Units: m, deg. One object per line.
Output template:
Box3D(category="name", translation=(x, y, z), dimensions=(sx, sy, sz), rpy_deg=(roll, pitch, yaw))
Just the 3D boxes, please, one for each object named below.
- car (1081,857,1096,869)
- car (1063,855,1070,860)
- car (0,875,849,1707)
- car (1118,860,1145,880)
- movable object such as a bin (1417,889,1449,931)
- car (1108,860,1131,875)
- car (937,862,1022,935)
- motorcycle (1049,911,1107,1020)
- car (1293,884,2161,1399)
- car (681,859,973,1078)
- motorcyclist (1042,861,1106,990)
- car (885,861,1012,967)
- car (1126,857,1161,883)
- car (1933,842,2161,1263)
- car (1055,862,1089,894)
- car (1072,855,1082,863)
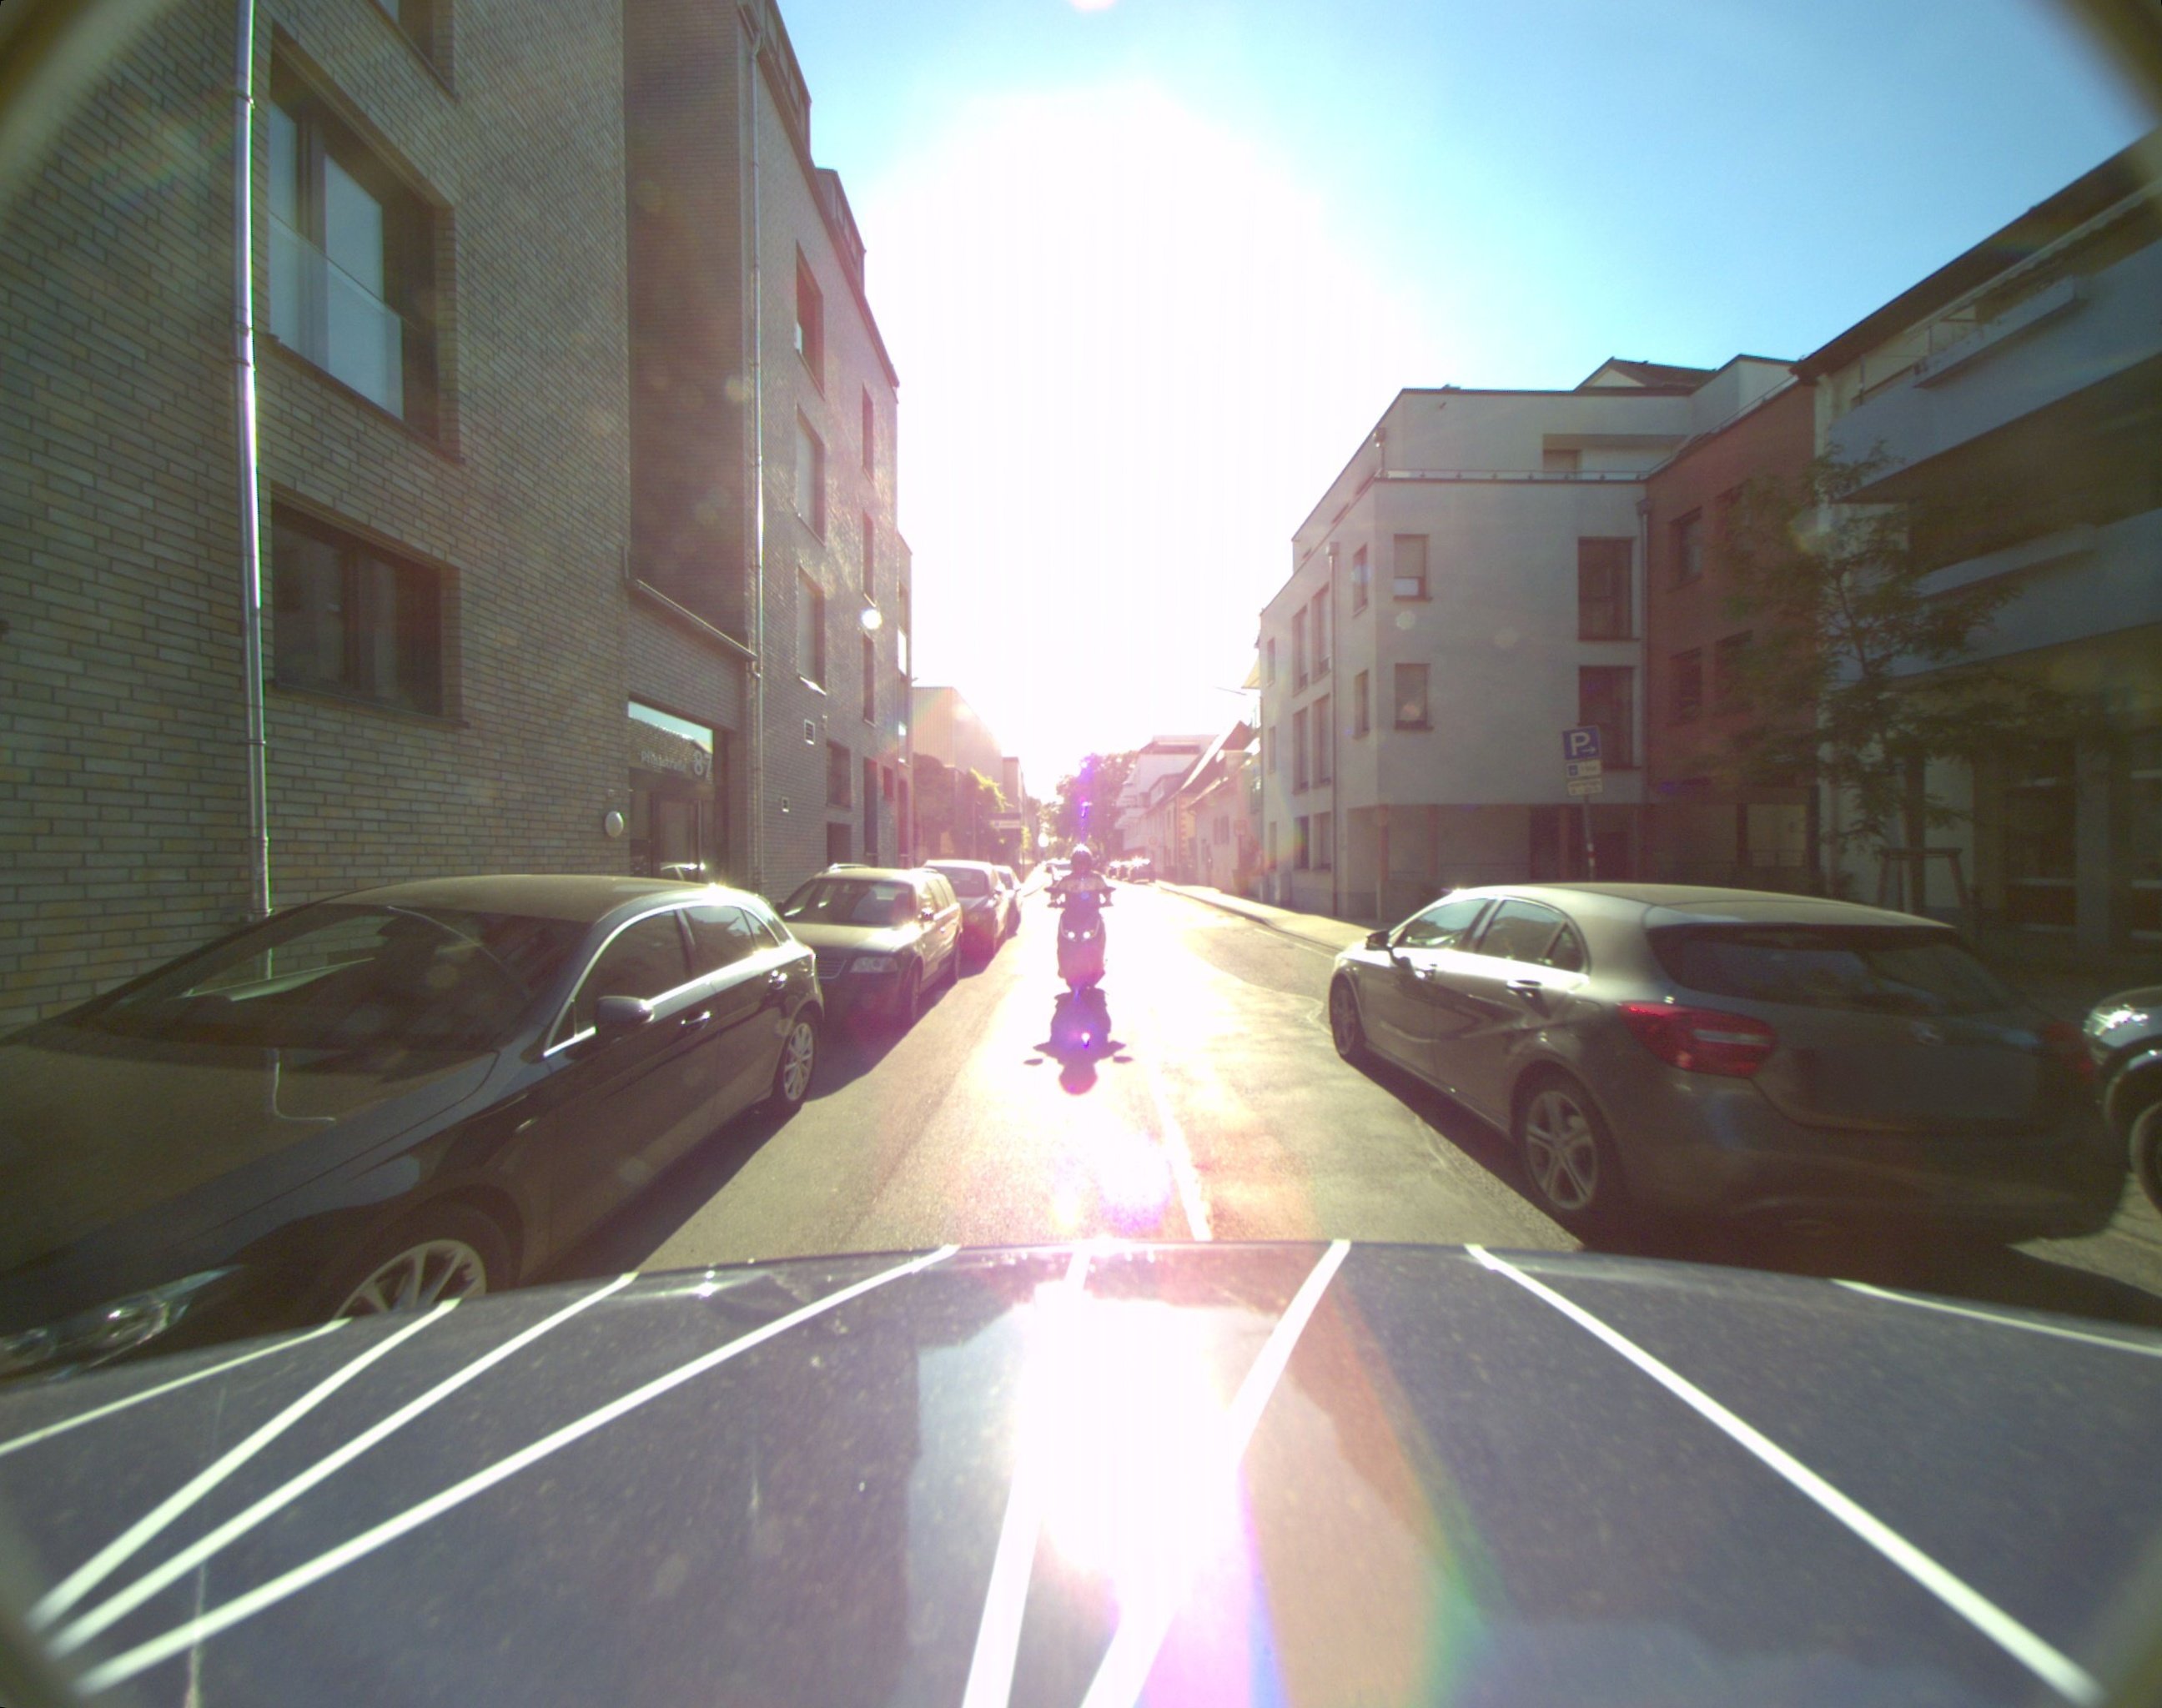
Box3D(category="car", translation=(0.947, 1.162, 99.359), dimensions=(1.736, 1.456, 3.999), rpy_deg=(-3, 1, 0))
Box3D(category="car", translation=(-4.148, 0.932, 214.818), dimensions=(1.998, 1.346, 4.000), rpy_deg=(0, 0, 0))
Box3D(category="car", translation=(-2.618, 0.955, 3.184), dimensions=(1.729, 1.520, 4.626), rpy_deg=(3, 0, 1))
Box3D(category="car", translation=(4.240, 1.319, 64.622), dimensions=(1.999, 1.613, 4.000), rpy_deg=(0, 0, 0))
Box3D(category="movable object such as a bin", translation=(7.700, 1.221, 16.619), dimensions=(0.491, 0.871, 0.433), rpy_deg=(0, 0, -3))
Box3D(category="car", translation=(3.772, 1.296, 74.893), dimensions=(1.999, 1.458, 4.000), rpy_deg=(0, 0, 0))
Box3D(category="car", translation=(-2.327, 0.978, 18.209), dimensions=(1.732, 1.515, 3.653), rpy_deg=(0, 0, -3))
Box3D(category="motorcycle", translation=(-0.014, 1.228, 8.802), dimensions=(0.598, 1.004, 1.821), rpy_deg=(0, 0, 1))
Box3D(category="car", translation=(2.741, 0.983, 4.403), dimensions=(1.812, 1.458, 3.999), rpy_deg=(0, 0, -2))
Box3D(category="car", translation=(-2.373, 0.930, 8.493), dimensions=(1.671, 1.723, 4.839), rpy_deg=(0, 0, 0))
Box3D(category="motorcyclist", translation=(-0.072, 0.800, 8.805), dimensions=(0.717, 1.424, 0.746), rpy_deg=(0, 0, 1))
Box3D(category="car", translation=(-2.207, 0.937, 13.742), dimensions=(1.655, 1.582, 4.342), rpy_deg=(1, -1, -2))
Box3D(category="car", translation=(4.544, 1.138, 55.891), dimensions=(1.999, 1.619, 4.000), rpy_deg=(-7, 0, 0))
Box3D(category="car", translation=(5.363, 0.790, 1.363), dimensions=(1.936, 1.695, 5.100), rpy_deg=(-3, 0, 1))
Box3D(category="car", translation=(-0.517, 1.293, 41.978), dimensions=(1.708, 1.569, 3.915), rpy_deg=(-2, 0, -1))
Box3D(category="car", translation=(-0.849, 1.032, 166.830), dimensions=(1.998, 1.665, 4.000), rpy_deg=(0, 0, 0))
